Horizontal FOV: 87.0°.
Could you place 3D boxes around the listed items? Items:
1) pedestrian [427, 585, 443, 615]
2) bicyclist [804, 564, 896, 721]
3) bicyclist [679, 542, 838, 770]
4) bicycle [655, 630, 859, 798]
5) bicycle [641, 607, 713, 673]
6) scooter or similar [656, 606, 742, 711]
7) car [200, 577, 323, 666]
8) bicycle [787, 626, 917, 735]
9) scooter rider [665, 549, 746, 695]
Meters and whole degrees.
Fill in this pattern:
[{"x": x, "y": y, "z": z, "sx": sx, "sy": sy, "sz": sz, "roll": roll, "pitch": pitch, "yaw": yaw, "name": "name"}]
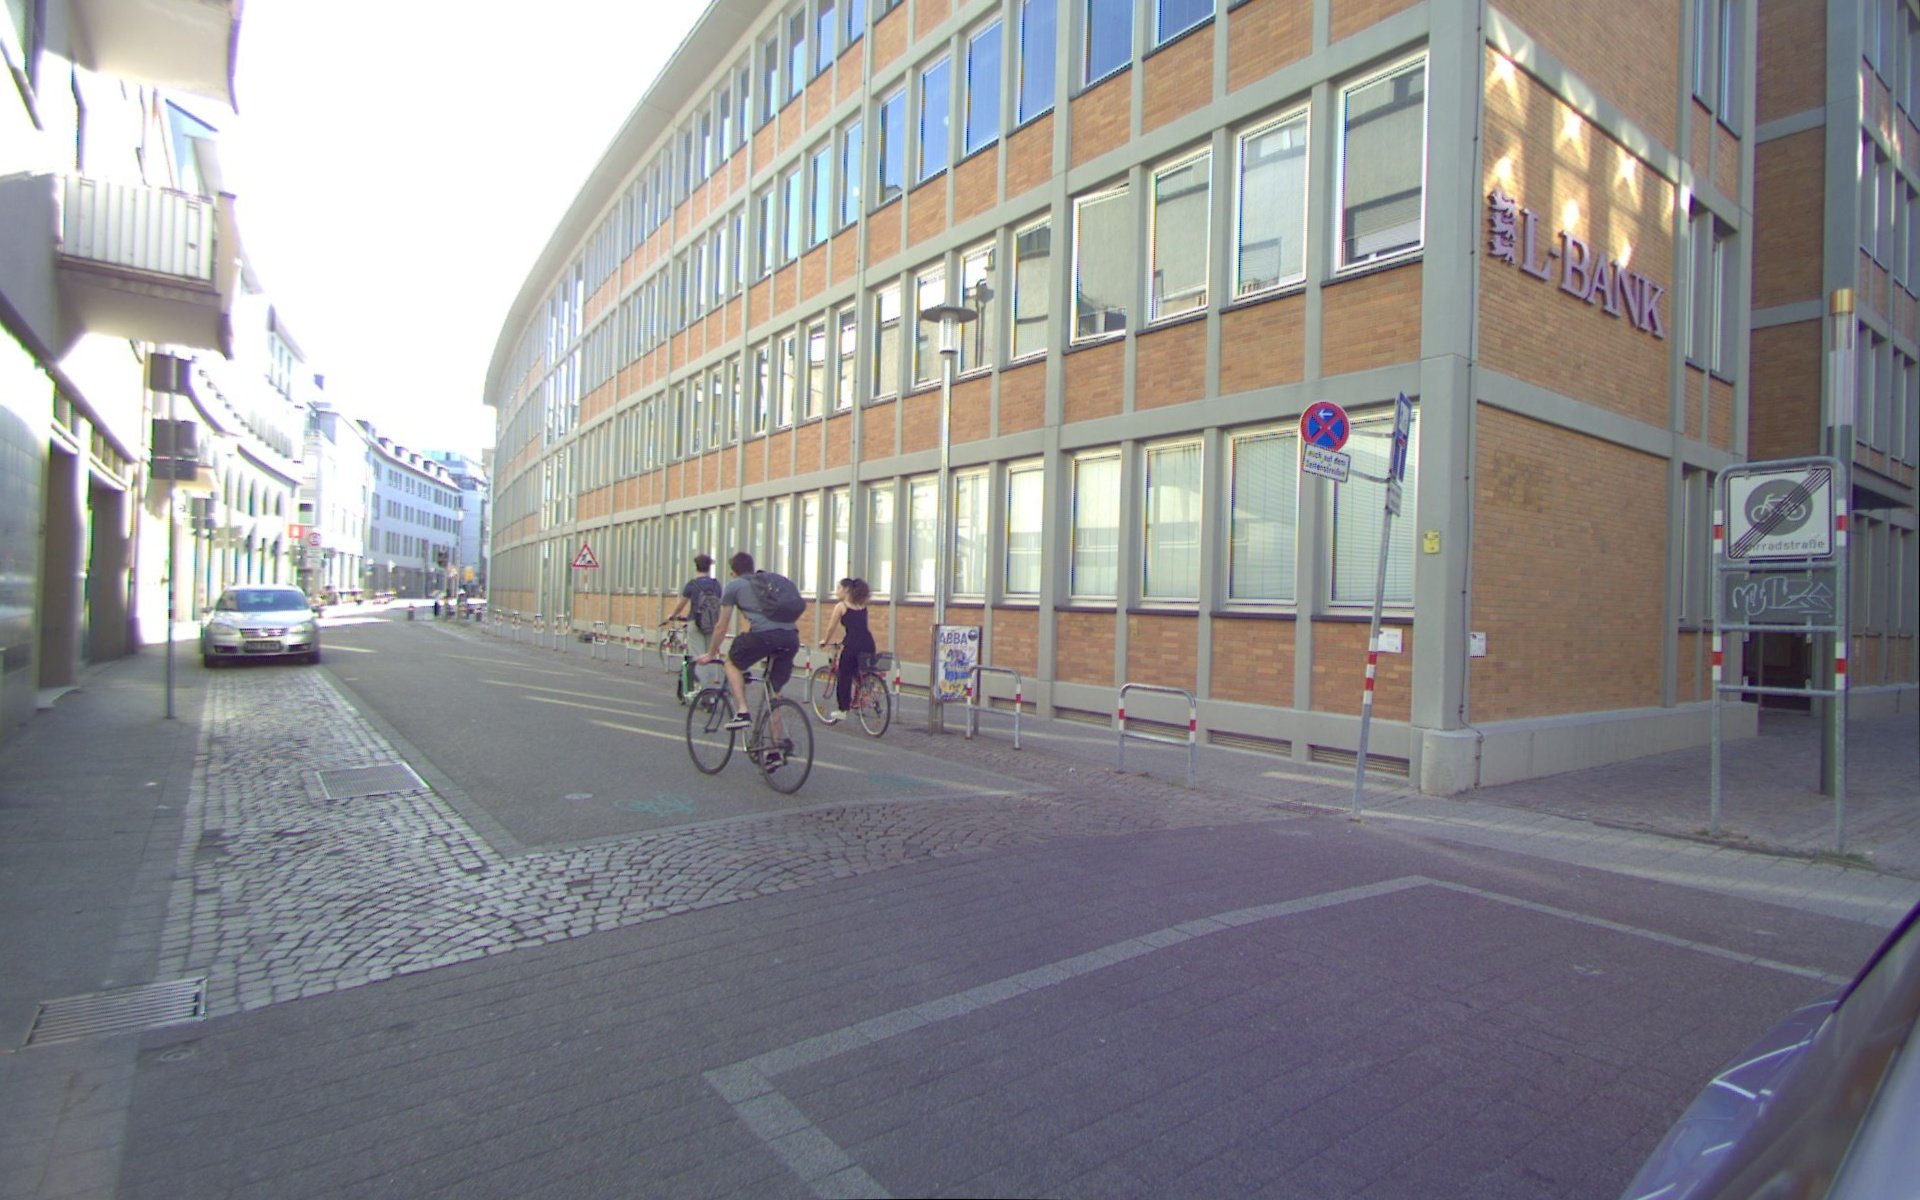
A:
[{"x": -26.126, "y": 0.013, "z": 50.349, "sx": 0.647, "sy": 1.459, "sz": 0.596, "roll": 1, "pitch": 0, "yaw": -34, "name": "pedestrian"}, {"x": -1.255, "y": 0.469, "z": 11.453, "sx": 0.608, "sy": 1.688, "sz": 0.823, "roll": 5, "pitch": -2, "yaw": -36, "name": "bicyclist"}, {"x": -1.532, "y": 0.382, "z": 7.639, "sx": 1.106, "sy": 1.578, "sz": 0.639, "roll": 1, "pitch": 0, "yaw": 44, "name": "bicyclist"}, {"x": -1.590, "y": 0.799, "z": 7.706, "sx": 1.830, "sy": 1.064, "sz": 0.565, "roll": 1, "pitch": 0, "yaw": 44, "name": "bicycle"}, {"x": -5.302, "y": 0.718, "z": 18.872, "sx": 0.626, "sy": 1.130, "sz": 1.930, "roll": 1, "pitch": 0, "yaw": -37, "name": "bicycle"}, {"x": -3.281, "y": 0.709, "z": 12.667, "sx": 1.275, "sy": 1.201, "sz": 0.332, "roll": 3, "pitch": -1, "yaw": 43, "name": "scooter or similar"}, {"x": -13.121, "y": 0.309, "z": 19.019, "sx": 1.737, "sy": 1.488, "sz": 3.813, "roll": -1, "pitch": 2, "yaw": -35, "name": "car"}, {"x": -1.248, "y": 0.870, "z": 11.384, "sx": 0.580, "sy": 1.065, "sz": 1.800, "roll": 4, "pitch": -2, "yaw": -36, "name": "bicycle"}, {"x": -3.159, "y": 0.255, "z": 12.577, "sx": 0.699, "sy": 1.748, "sz": 0.639, "roll": 3, "pitch": 1, "yaw": 40, "name": "scooter rider"}]
